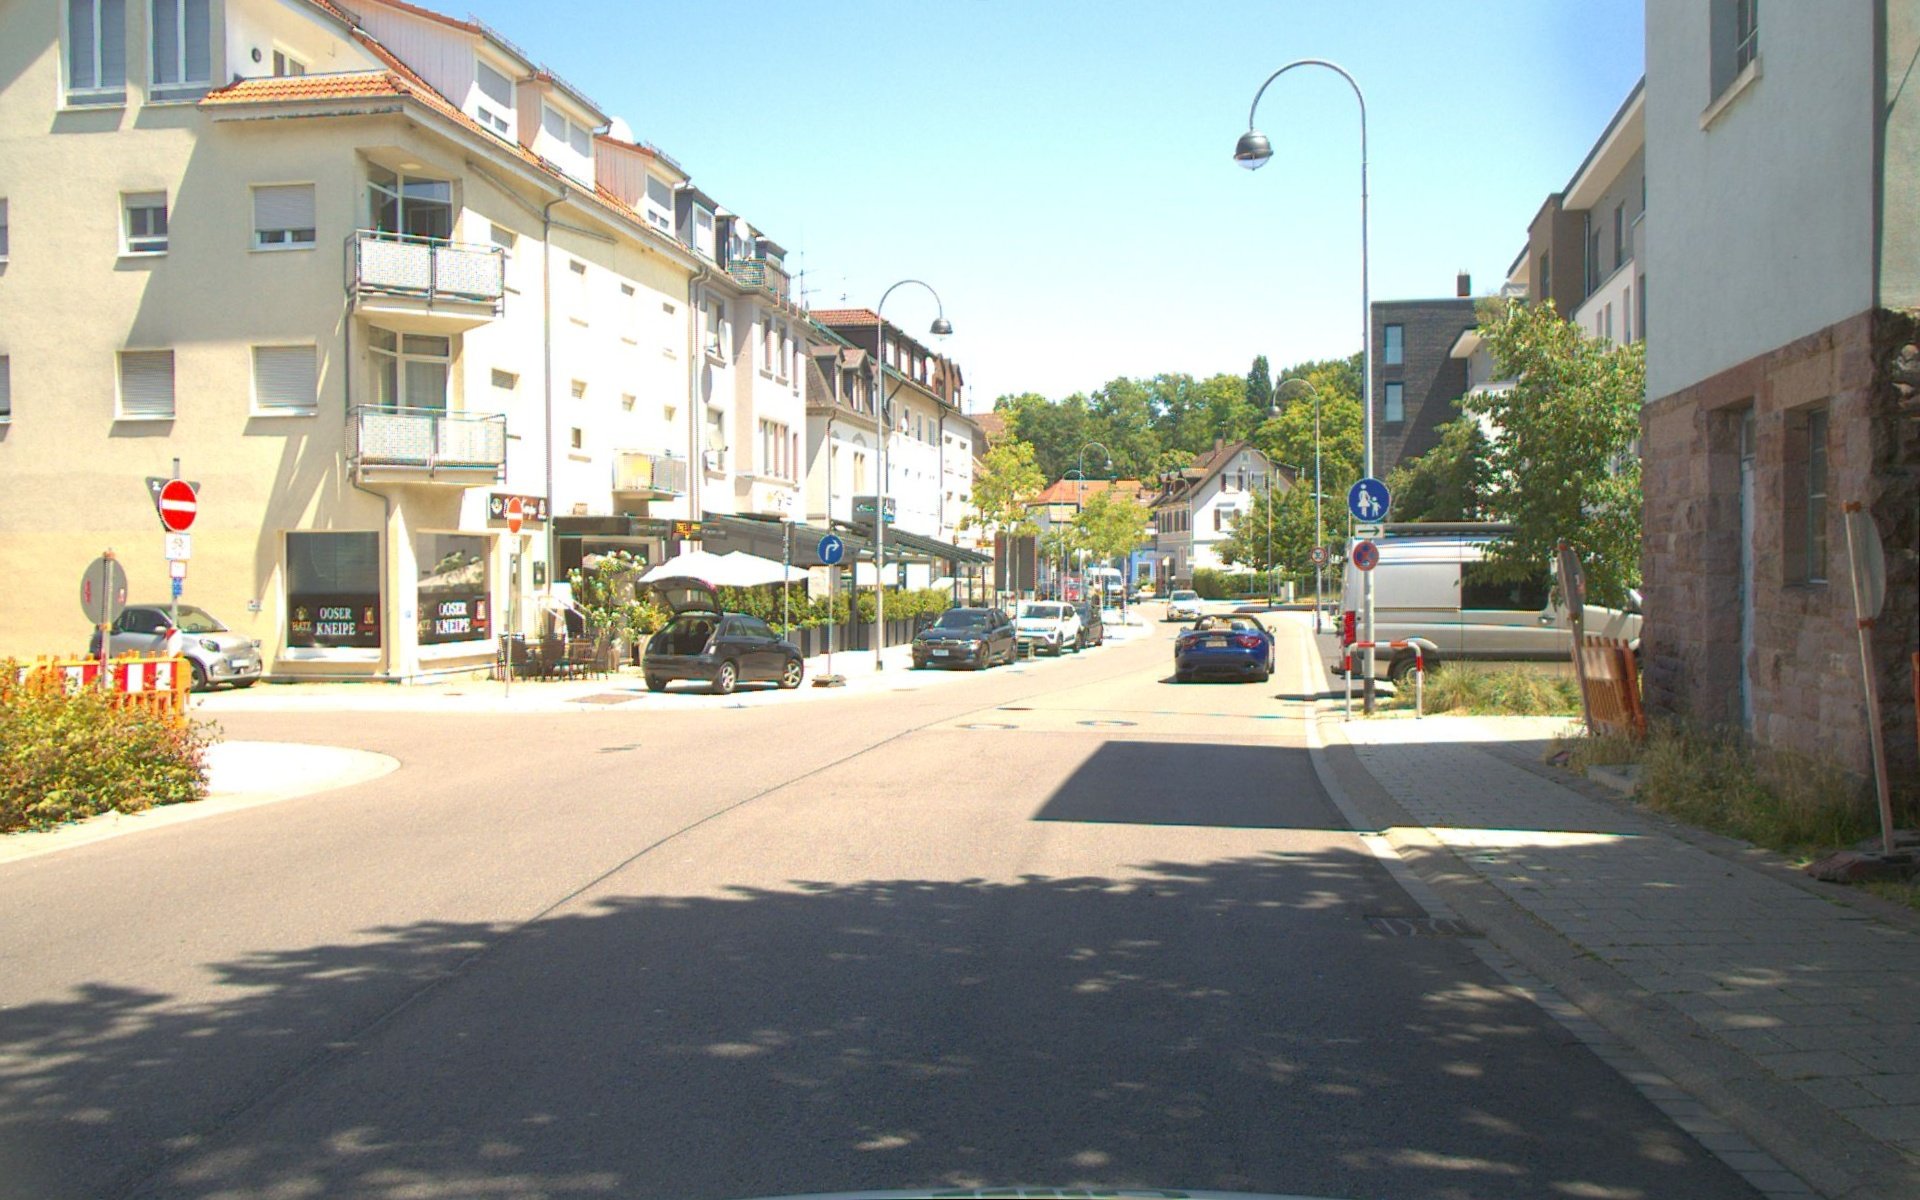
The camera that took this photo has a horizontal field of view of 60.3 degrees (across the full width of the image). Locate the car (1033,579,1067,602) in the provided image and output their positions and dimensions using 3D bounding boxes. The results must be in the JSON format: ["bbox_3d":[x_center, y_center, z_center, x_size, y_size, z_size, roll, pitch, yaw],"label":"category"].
[{"bbox_3d":[6.846,-0.758,126.175,1.956,1.722,3.994,0,1,-7],"label":"car"}]

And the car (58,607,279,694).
[{"bbox_3d":[-14.397,0.906,30.174,3.193,1.484,1.693,-1,1,8],"label":"car"}]

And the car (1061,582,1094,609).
[{"bbox_3d":[8.082,-0.291,113.847,1.953,1.769,3.999,-1,0,-1],"label":"car"}]

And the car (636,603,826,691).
[{"bbox_3d":[-4.243,0.847,31.257,1.678,1.486,4.129,2,0,22],"label":"car"}]

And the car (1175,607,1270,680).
[{"bbox_3d":[5.497,0.857,34.675,1.831,1.365,4.600,0,0,9],"label":"car"}]

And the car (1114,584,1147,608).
[{"bbox_3d":[12.081,-0.294,117.174,1.628,1.634,3.997,-2,0,-4],"label":"car"}]

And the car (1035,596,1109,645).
[{"bbox_3d":[3.693,0.653,54.000,1.634,1.469,4.013,0,1,15],"label":"car"}]

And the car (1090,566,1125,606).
[{"bbox_3d":[9.301,-0.908,104.657,1.828,2.442,4.819,-1,1,1],"label":"car"}]

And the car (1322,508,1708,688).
[{"bbox_3d":[8.956,-0.010,27.282,5.813,2.780,2.198,0,0,12],"label":"car"}]

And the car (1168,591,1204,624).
[{"bbox_3d":[11.256,0.355,82.245,1.651,1.484,4.062,-2,0,9],"label":"car"}]

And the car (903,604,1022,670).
[{"bbox_3d":[0.144,0.873,41.384,1.795,1.454,4.786,1,1,15],"label":"car"}]

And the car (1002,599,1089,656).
[{"bbox_3d":[2.552,0.767,48.665,1.610,1.505,3.943,1,1,17],"label":"car"}]
